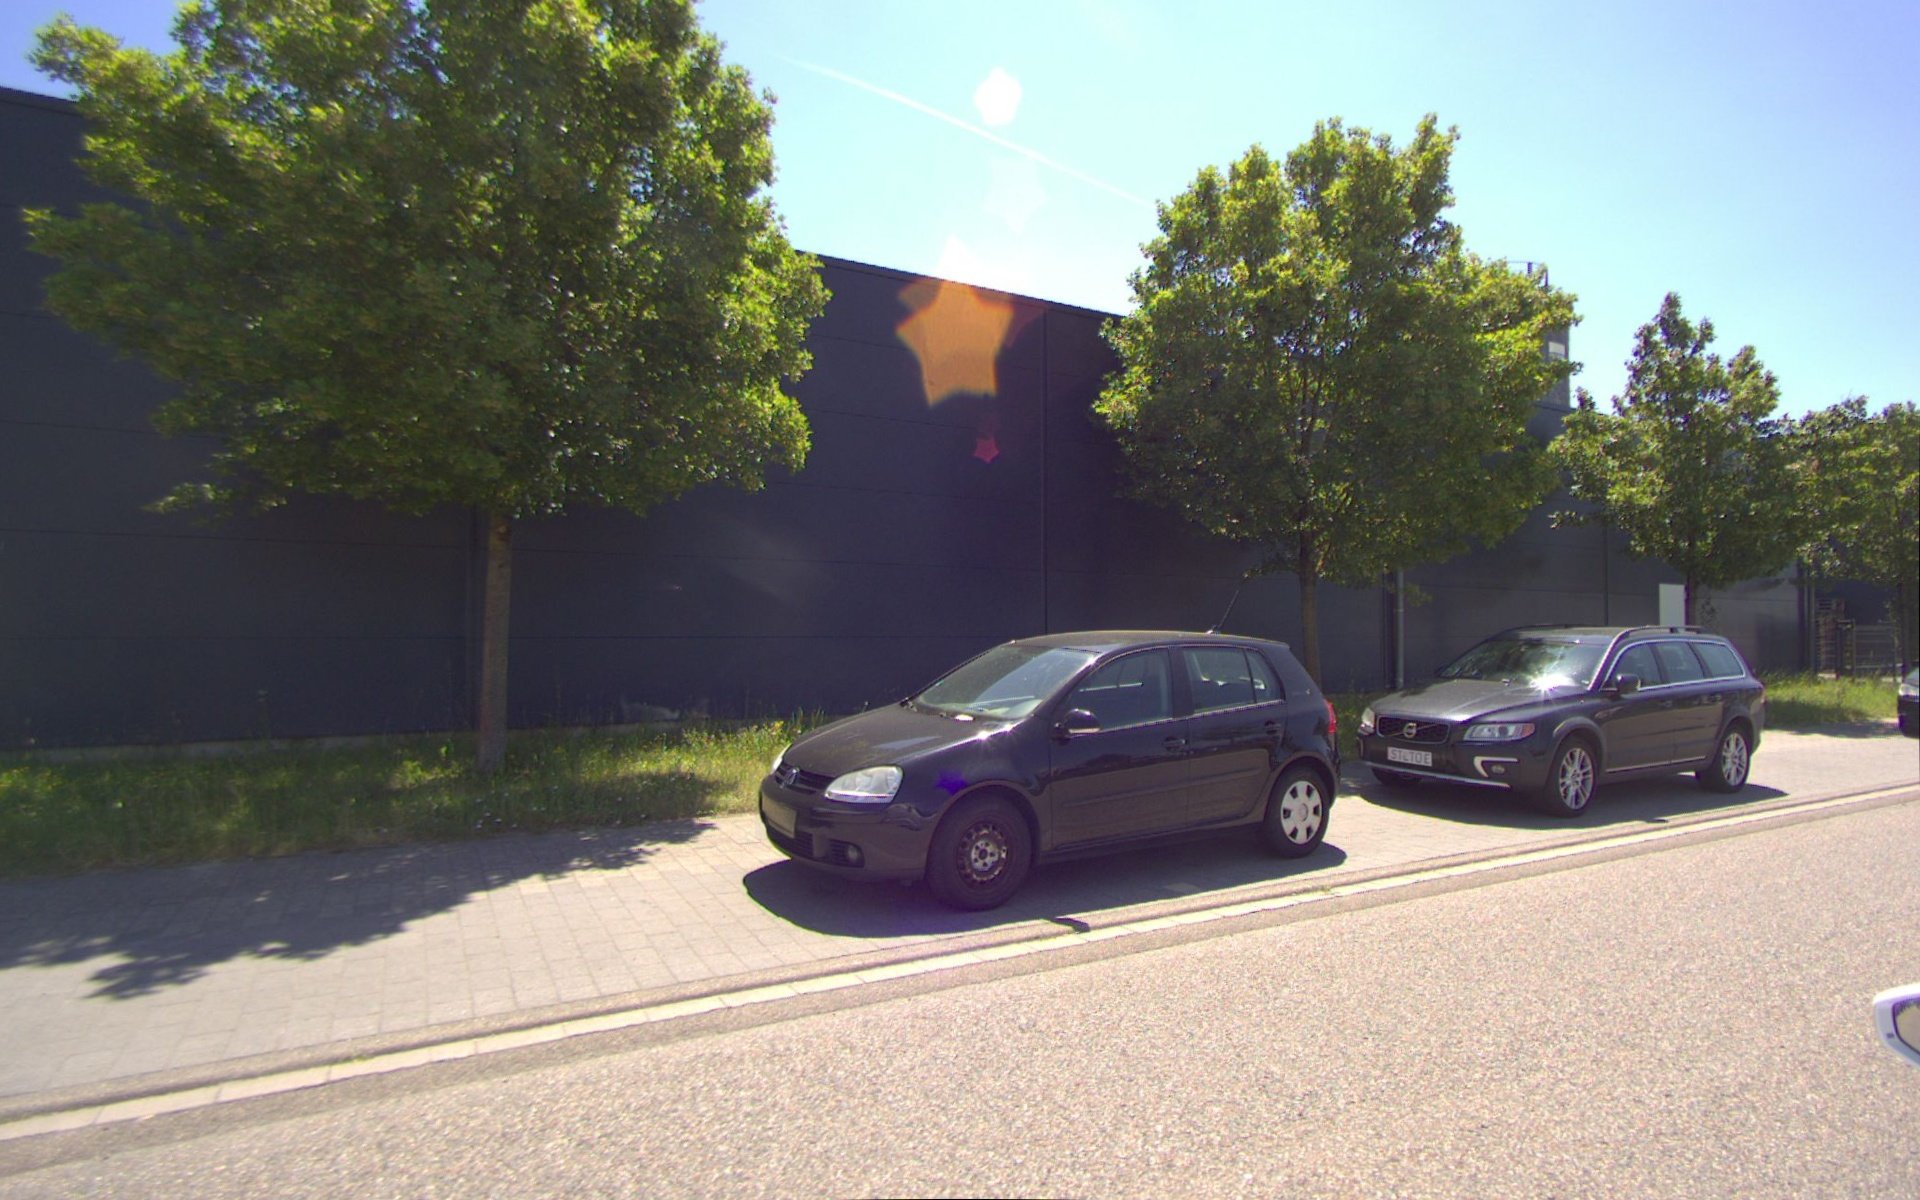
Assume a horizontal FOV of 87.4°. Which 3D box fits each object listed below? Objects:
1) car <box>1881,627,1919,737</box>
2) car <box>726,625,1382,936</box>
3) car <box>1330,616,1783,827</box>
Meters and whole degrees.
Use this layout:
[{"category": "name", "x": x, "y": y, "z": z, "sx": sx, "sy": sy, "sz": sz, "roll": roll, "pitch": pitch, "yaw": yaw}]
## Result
[{"category": "car", "x": 16.318, "y": 1.267, "z": 15.686, "sx": 4.199, "sy": 1.633, "sz": 1.762, "roll": 1, "pitch": -1, "yaw": -31}, {"category": "car", "x": 0.744, "y": 0.933, "z": 6.703, "sx": 4.154, "sy": 1.450, "sz": 1.761, "roll": 1, "pitch": 0, "yaw": -32}, {"category": "car", "x": 5.911, "y": 1.002, "z": 9.770, "sx": 4.796, "sy": 1.633, "sz": 1.762, "roll": 1, "pitch": -1, "yaw": -31}]
